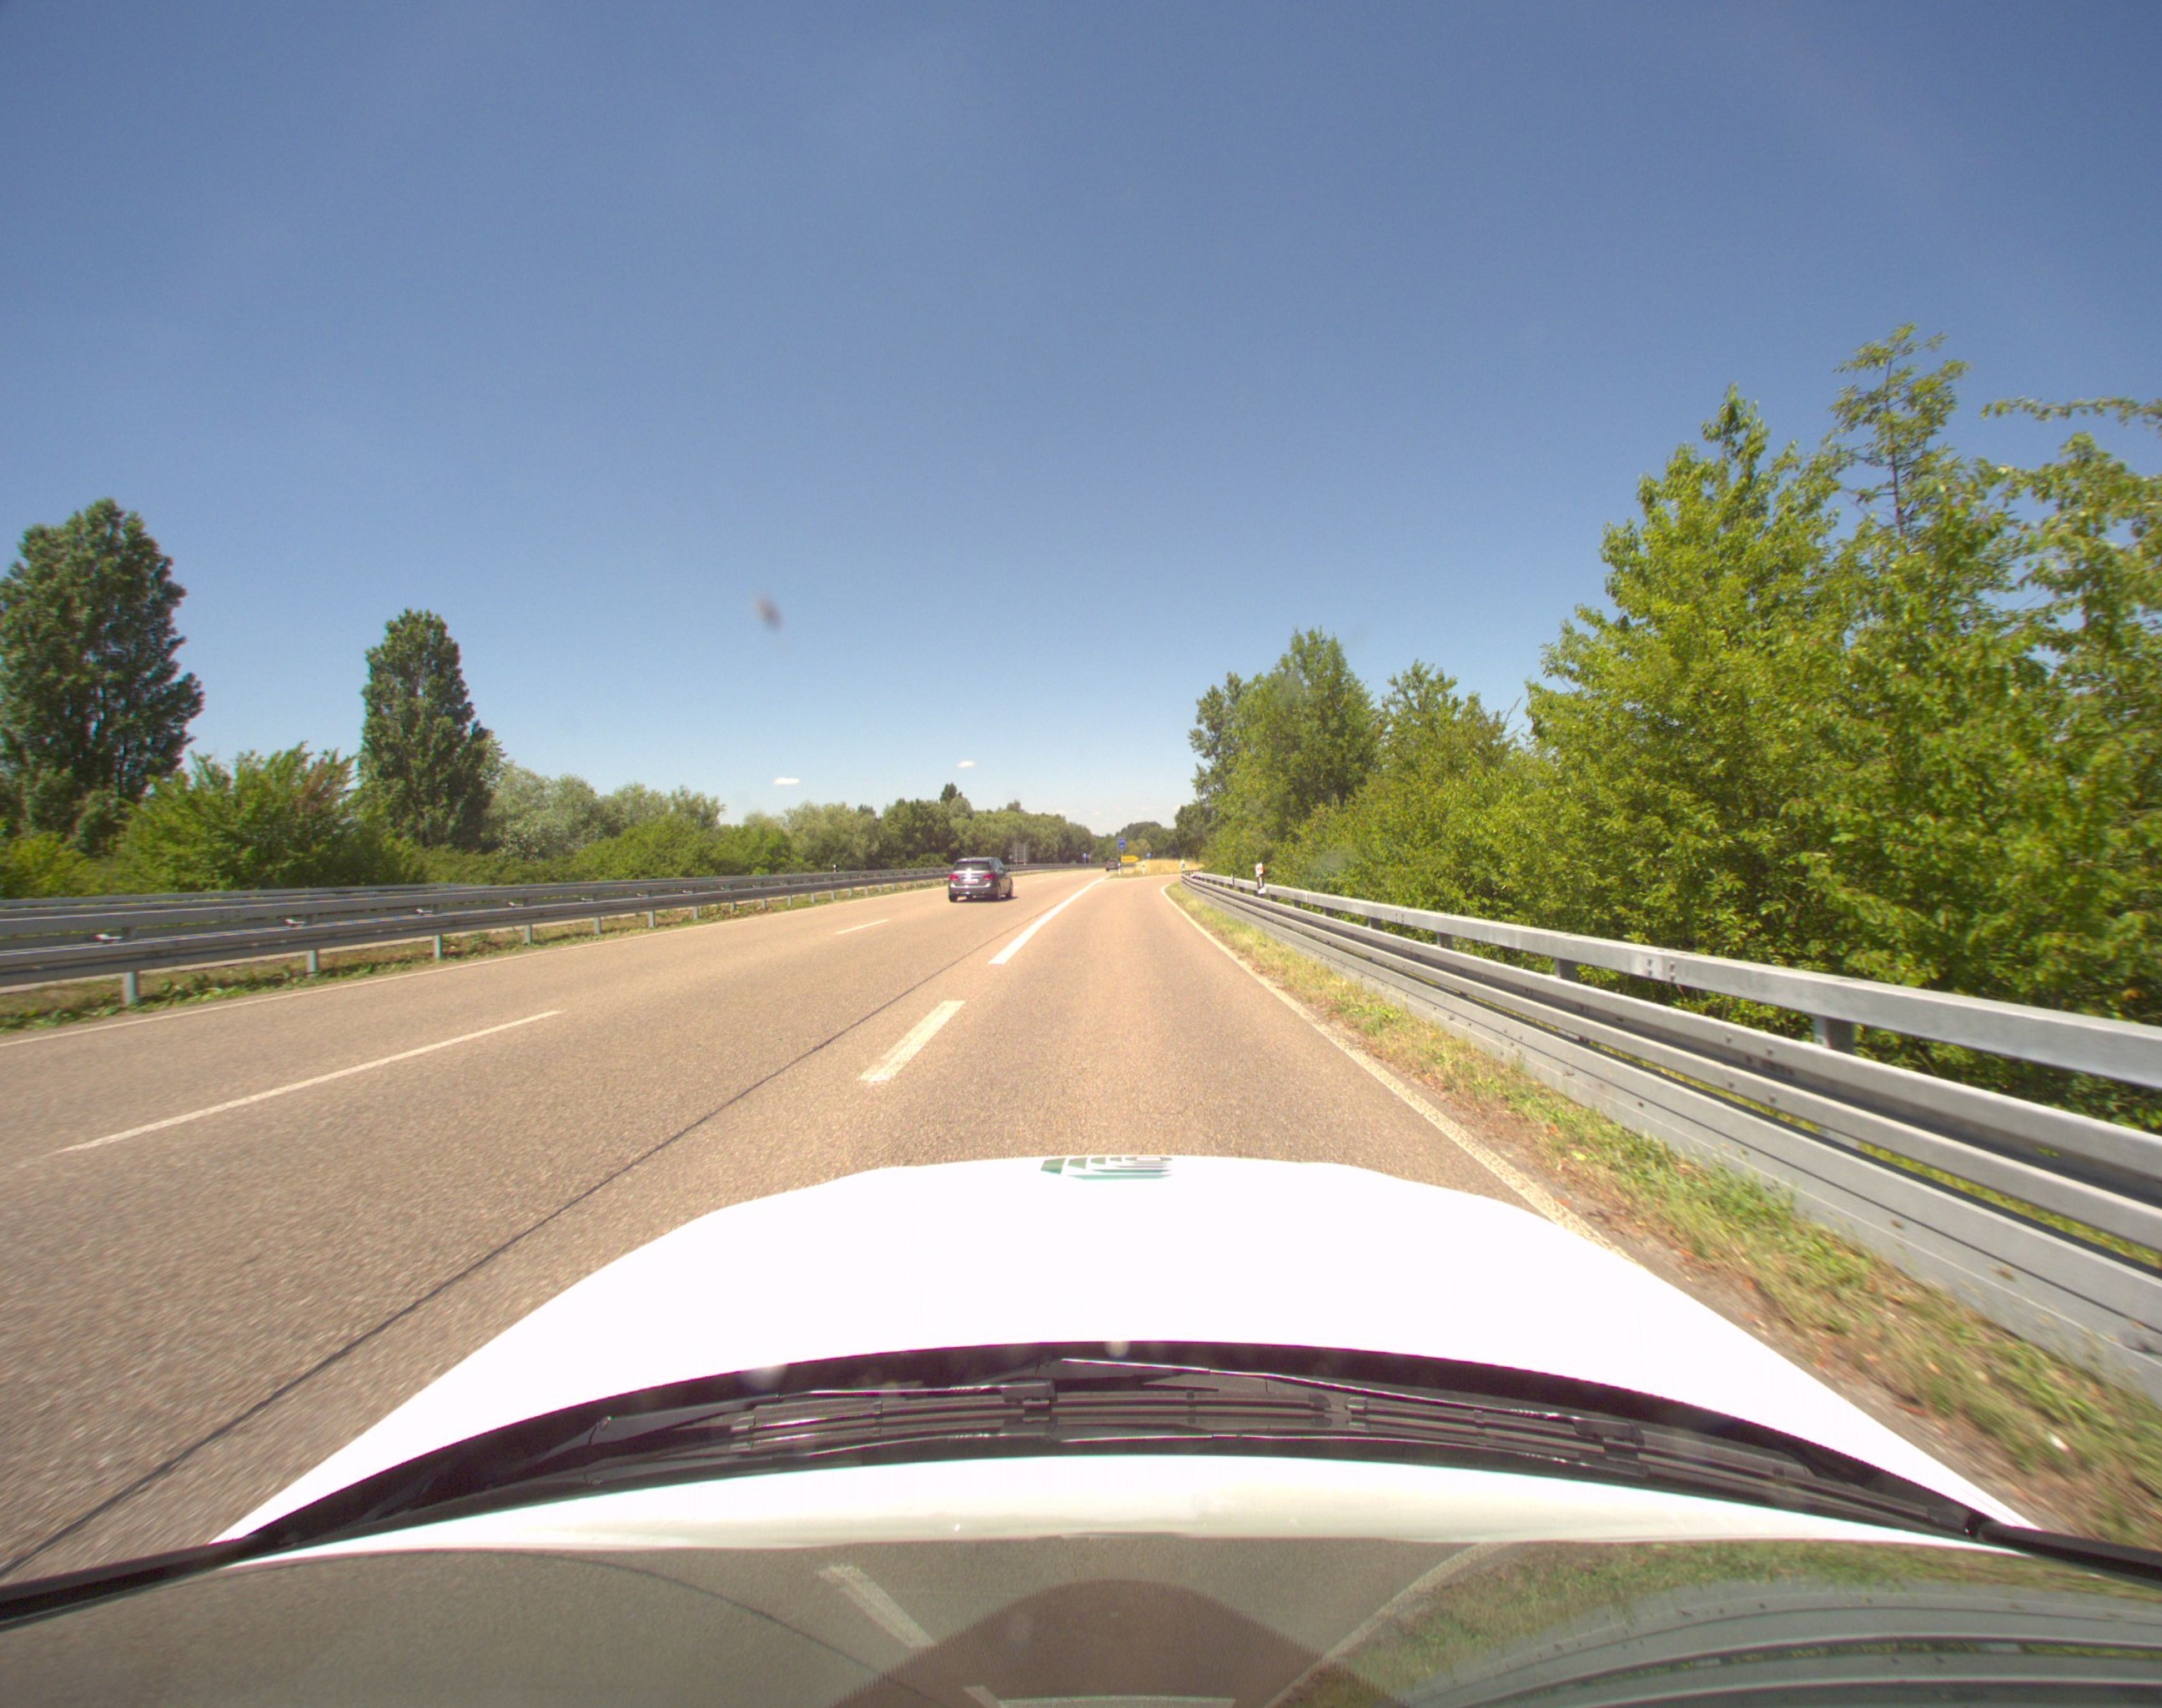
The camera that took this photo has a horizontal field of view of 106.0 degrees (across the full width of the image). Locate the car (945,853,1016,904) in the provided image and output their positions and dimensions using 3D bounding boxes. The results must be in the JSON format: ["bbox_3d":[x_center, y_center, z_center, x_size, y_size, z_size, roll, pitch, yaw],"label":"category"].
[{"bbox_3d":[-3.616,0.827,30.032,1.785,1.667,4.558,0,1,3],"label":"car"}]

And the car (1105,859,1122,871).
[{"bbox_3d":[4.273,1.410,107.408,1.831,1.530,4.479,0,1,7],"label":"car"}]
